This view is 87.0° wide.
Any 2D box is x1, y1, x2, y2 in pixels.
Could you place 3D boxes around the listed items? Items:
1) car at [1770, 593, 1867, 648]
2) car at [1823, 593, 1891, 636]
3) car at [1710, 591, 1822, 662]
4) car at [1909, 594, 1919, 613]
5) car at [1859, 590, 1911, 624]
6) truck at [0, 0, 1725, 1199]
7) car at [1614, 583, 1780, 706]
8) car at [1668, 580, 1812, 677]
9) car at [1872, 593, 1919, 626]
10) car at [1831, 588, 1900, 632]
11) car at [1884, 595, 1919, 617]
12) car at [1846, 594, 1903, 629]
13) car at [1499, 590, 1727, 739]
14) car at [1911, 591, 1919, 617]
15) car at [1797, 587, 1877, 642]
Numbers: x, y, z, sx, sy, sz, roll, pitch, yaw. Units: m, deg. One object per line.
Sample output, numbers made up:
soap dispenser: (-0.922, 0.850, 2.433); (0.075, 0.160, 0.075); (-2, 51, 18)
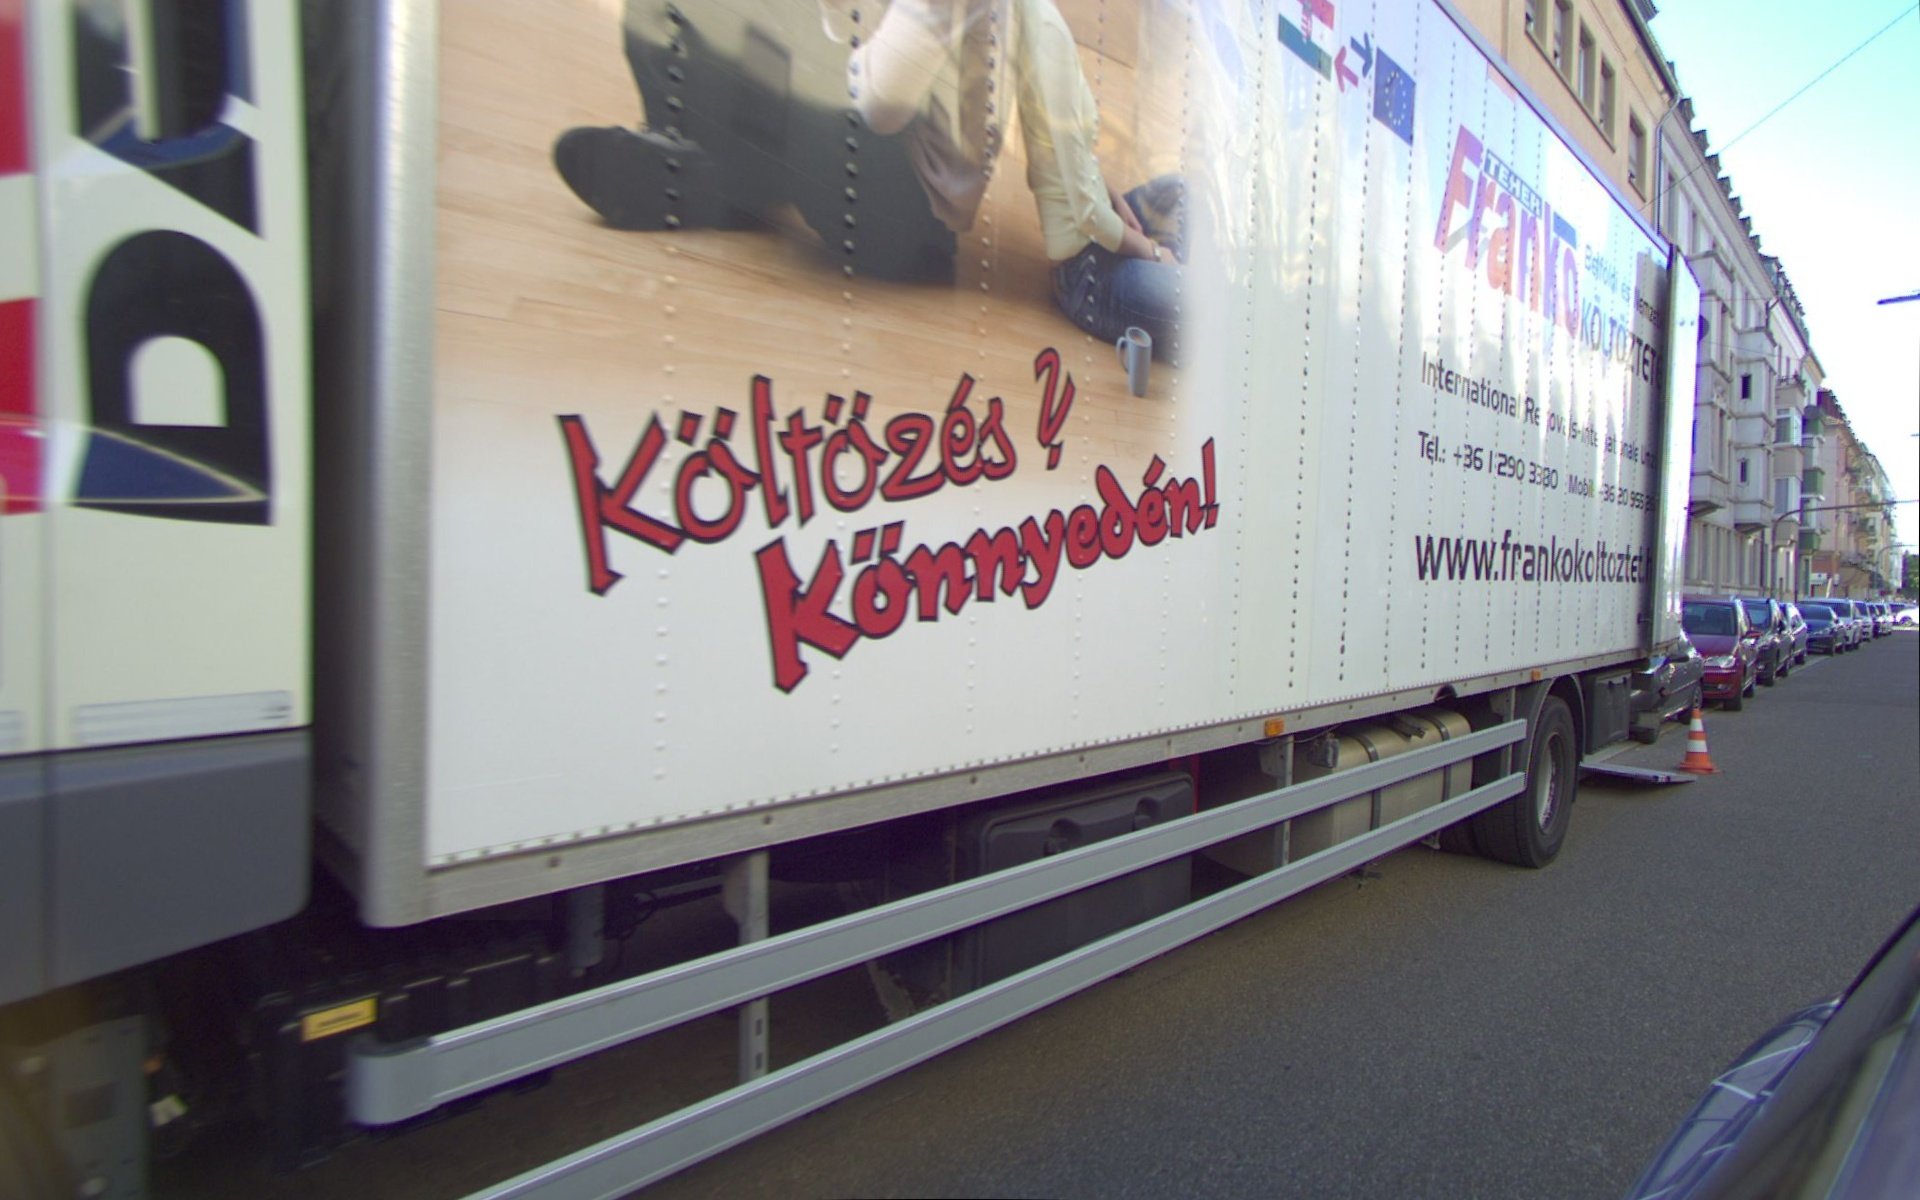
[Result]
car: (25.617, 0.565, 30.153); (4.135, 1.470, 1.702); (0, 2, -43)
car: (35.139, 0.533, 39.629); (3.307, 1.502, 1.570); (0, 4, -42)
car: (18.997, 0.563, 23.809); (3.422, 1.481, 1.610); (0, 2, -44)
car: (88.154, 0.322, 92.418); (3.934, 1.660, 1.995); (0, 2, -44)
car: (45.964, 0.325, 50.279); (3.896, 1.610, 1.700); (0, 1, -45)
truck: (0.743, -0.689, 4.736); (11.586, 4.124, 2.862); (0, 1, -45)
car: (11.593, 0.589, 15.814); (1.592, 1.629, 4.181); (3, 2, 42)
car: (15.618, 0.496, 20.177); (1.790, 1.672, 4.298); (3, 2, 44)
car: (50.742, 0.483, 54.805); (3.298, 1.609, 1.701); (0, 4, -43)
car: (38.379, 0.388, 42.860); (4.116, 1.719, 1.701); (0, 2, -42)
car: (67.053, 0.389, 71.805); (3.666, 1.437, 1.995); (0, 2, -44)
car: (42.308, 0.512, 46.815); (3.799, 1.524, 1.700); (0, 1, -44)
car: (8.061, 0.654, 12.358); (1.583, 1.481, 3.818); (3, 2, 44)
car: (61.606, 0.306, 62.337); (1.737, 1.627, 4.299); (1, 1, -6)
car: (29.896, 0.448, 34.438); (1.710, 1.714, 4.515); (3, 2, 45)
